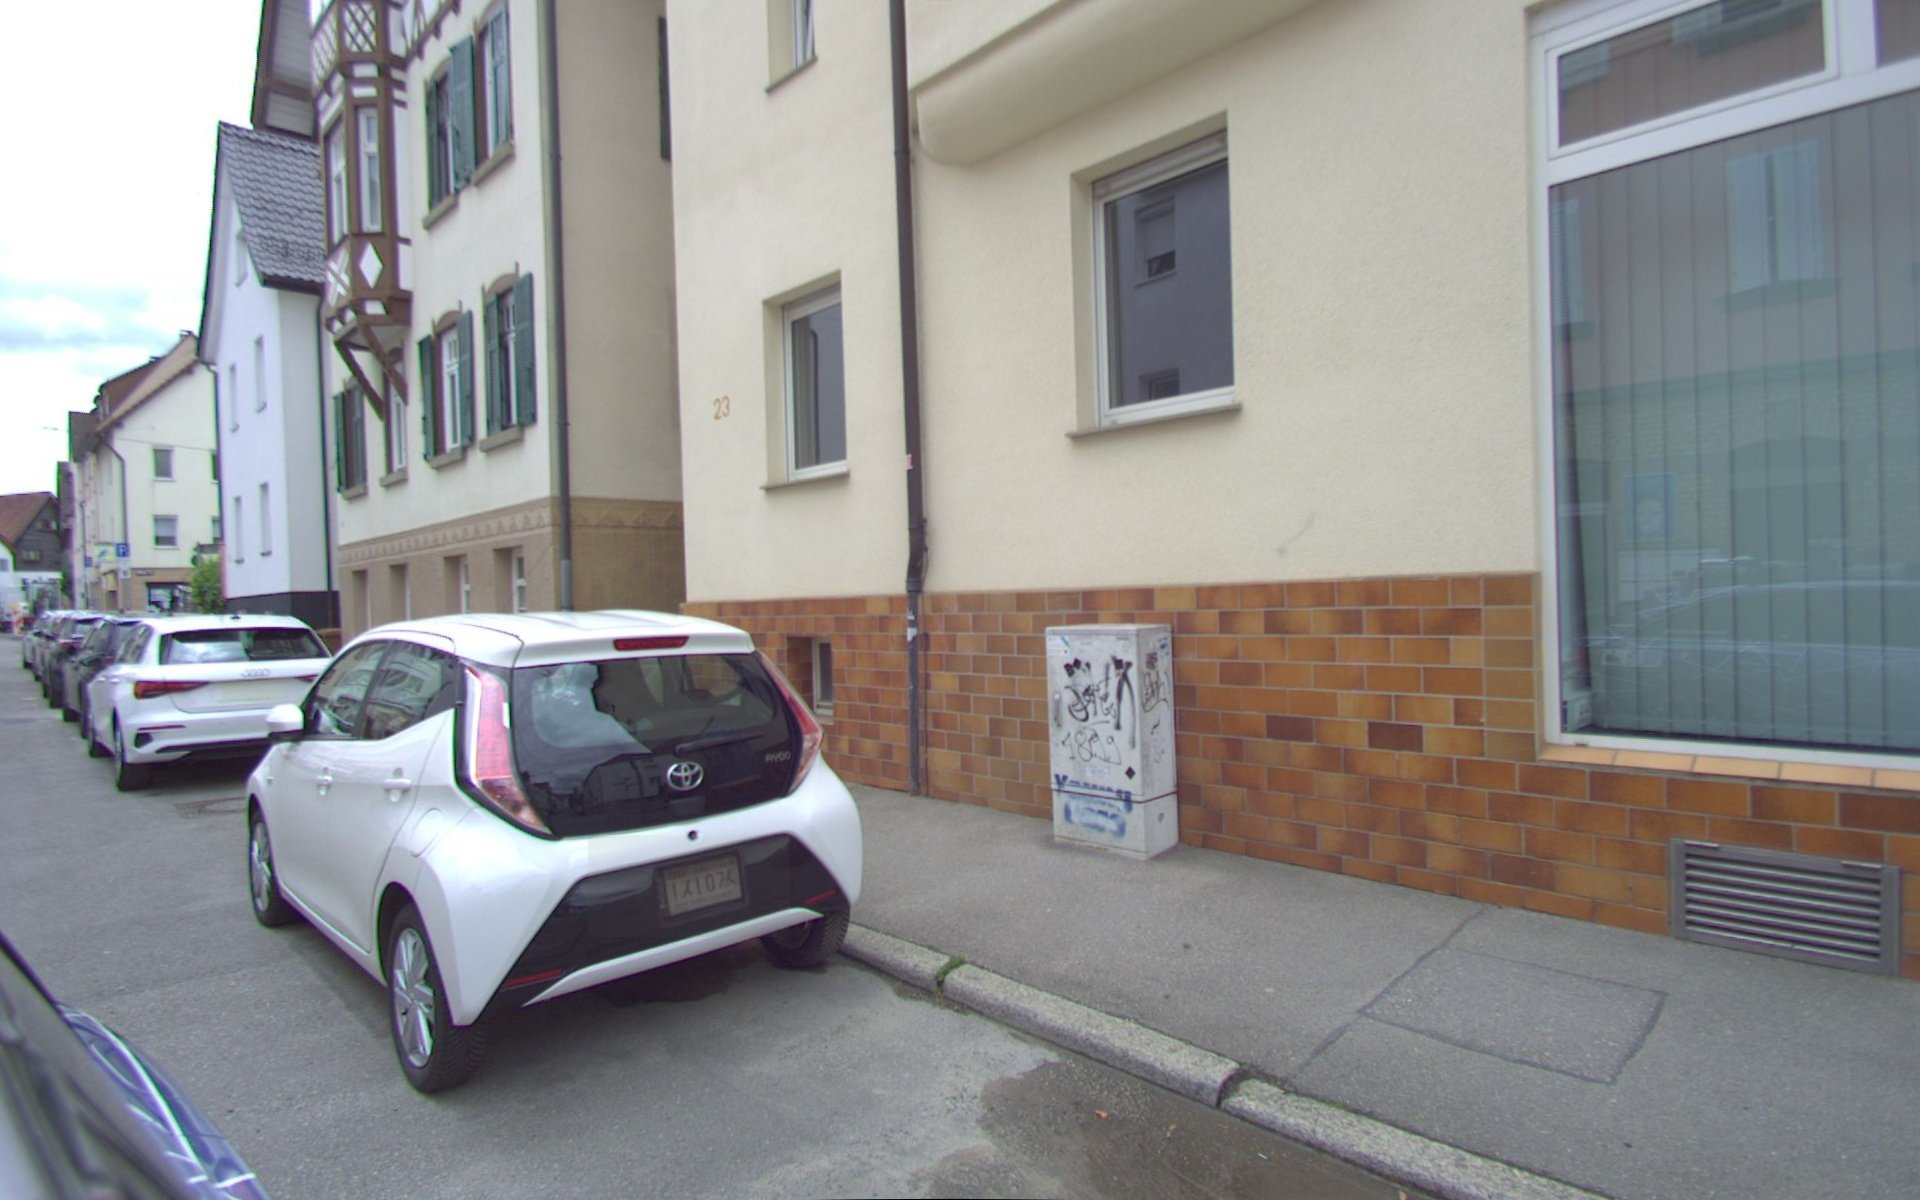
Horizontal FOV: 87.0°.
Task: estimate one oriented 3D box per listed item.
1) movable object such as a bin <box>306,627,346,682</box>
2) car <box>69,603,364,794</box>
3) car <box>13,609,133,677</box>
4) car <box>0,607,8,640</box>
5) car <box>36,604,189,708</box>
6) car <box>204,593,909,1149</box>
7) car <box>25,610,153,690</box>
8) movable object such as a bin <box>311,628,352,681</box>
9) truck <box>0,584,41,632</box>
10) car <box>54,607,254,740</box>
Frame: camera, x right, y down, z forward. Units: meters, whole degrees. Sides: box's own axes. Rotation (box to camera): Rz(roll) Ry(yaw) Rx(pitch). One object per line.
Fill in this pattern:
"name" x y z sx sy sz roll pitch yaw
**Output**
"movable object such as a bin" -12.353 1.043 19.713 0.508 1.023 0.604 -3 1 -44
"car" -7.419 0.769 9.908 1.731 1.443 4.373 2 -1 -44
"car" -21.465 0.978 24.432 4.350 1.442 1.732 0 -1 43
"car" -45.472 1.128 47.065 1.584 1.483 3.554 -6 4 -44
"car" -14.354 0.846 17.062 1.731 1.521 4.088 1 -1 -43
"car" -2.106 0.702 4.594 1.647 1.444 3.819 -1 0 -44
"car" -17.947 0.954 20.785 1.731 1.460 4.070 2 -1 -44
"movable object such as a bin" -11.928 1.024 19.197 0.508 0.939 0.604 -3 1 -44
"truck" -50.563 0.398 54.131 5.488 2.409 1.759 0 1 45
"car" -10.897 0.846 13.553 1.731 1.467 4.374 1 -1 -43
